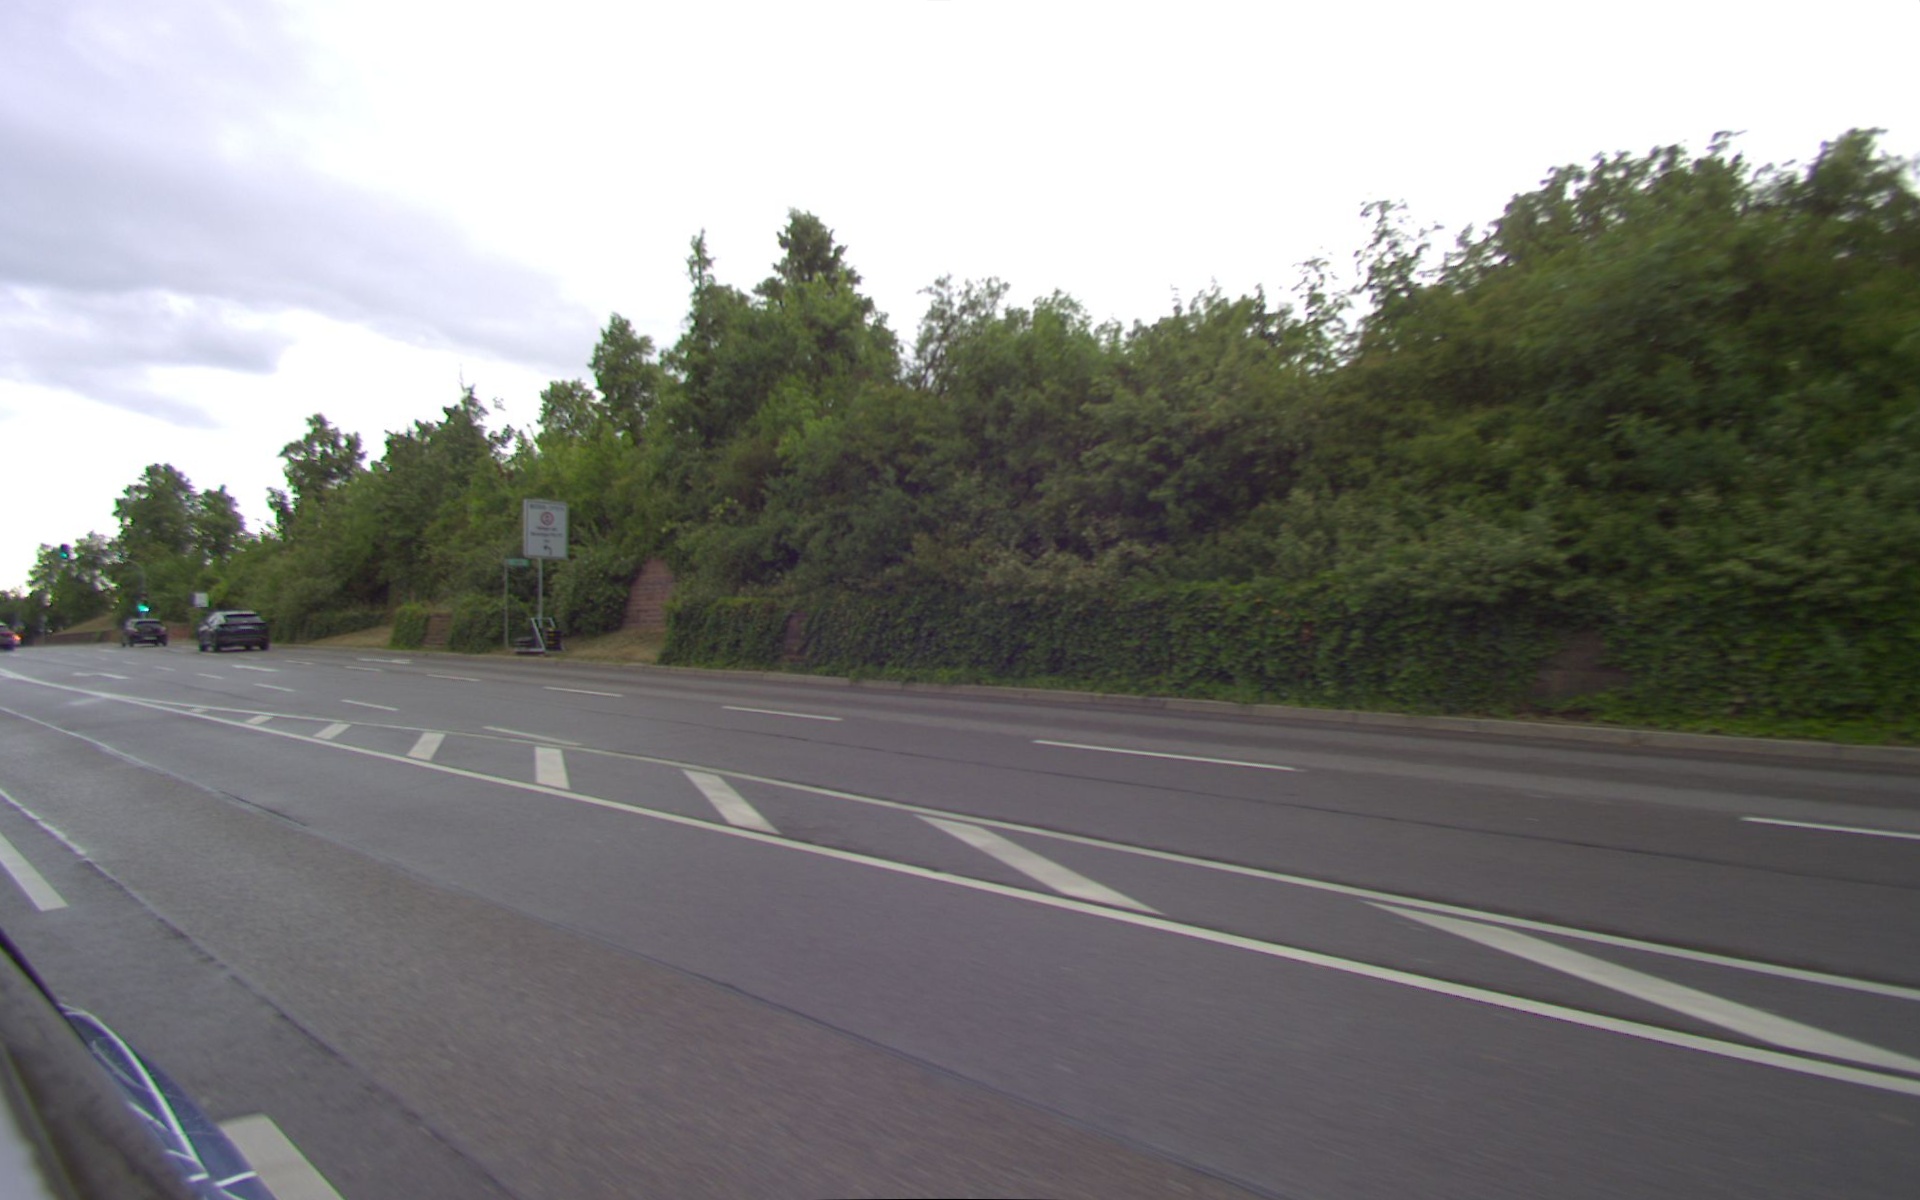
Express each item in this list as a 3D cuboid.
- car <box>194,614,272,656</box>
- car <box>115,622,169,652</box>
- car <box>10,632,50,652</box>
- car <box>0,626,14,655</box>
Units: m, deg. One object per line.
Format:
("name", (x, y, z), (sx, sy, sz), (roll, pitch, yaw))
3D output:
("car", (-30.247, 1.437, 42.042), (4.428, 1.618, 1.780), (-2, 0, 43))
("car", (-44.045, 1.987, 54.439), (3.861, 1.478, 1.657), (-2, 0, 42))
("car", (-83.925, 3.797, 91.340), (4.441, 1.668, 1.869), (-2, -1, 36))
("car", (-50.491, 2.102, 52.503), (3.996, 1.478, 1.758), (-2, -1, 42))
